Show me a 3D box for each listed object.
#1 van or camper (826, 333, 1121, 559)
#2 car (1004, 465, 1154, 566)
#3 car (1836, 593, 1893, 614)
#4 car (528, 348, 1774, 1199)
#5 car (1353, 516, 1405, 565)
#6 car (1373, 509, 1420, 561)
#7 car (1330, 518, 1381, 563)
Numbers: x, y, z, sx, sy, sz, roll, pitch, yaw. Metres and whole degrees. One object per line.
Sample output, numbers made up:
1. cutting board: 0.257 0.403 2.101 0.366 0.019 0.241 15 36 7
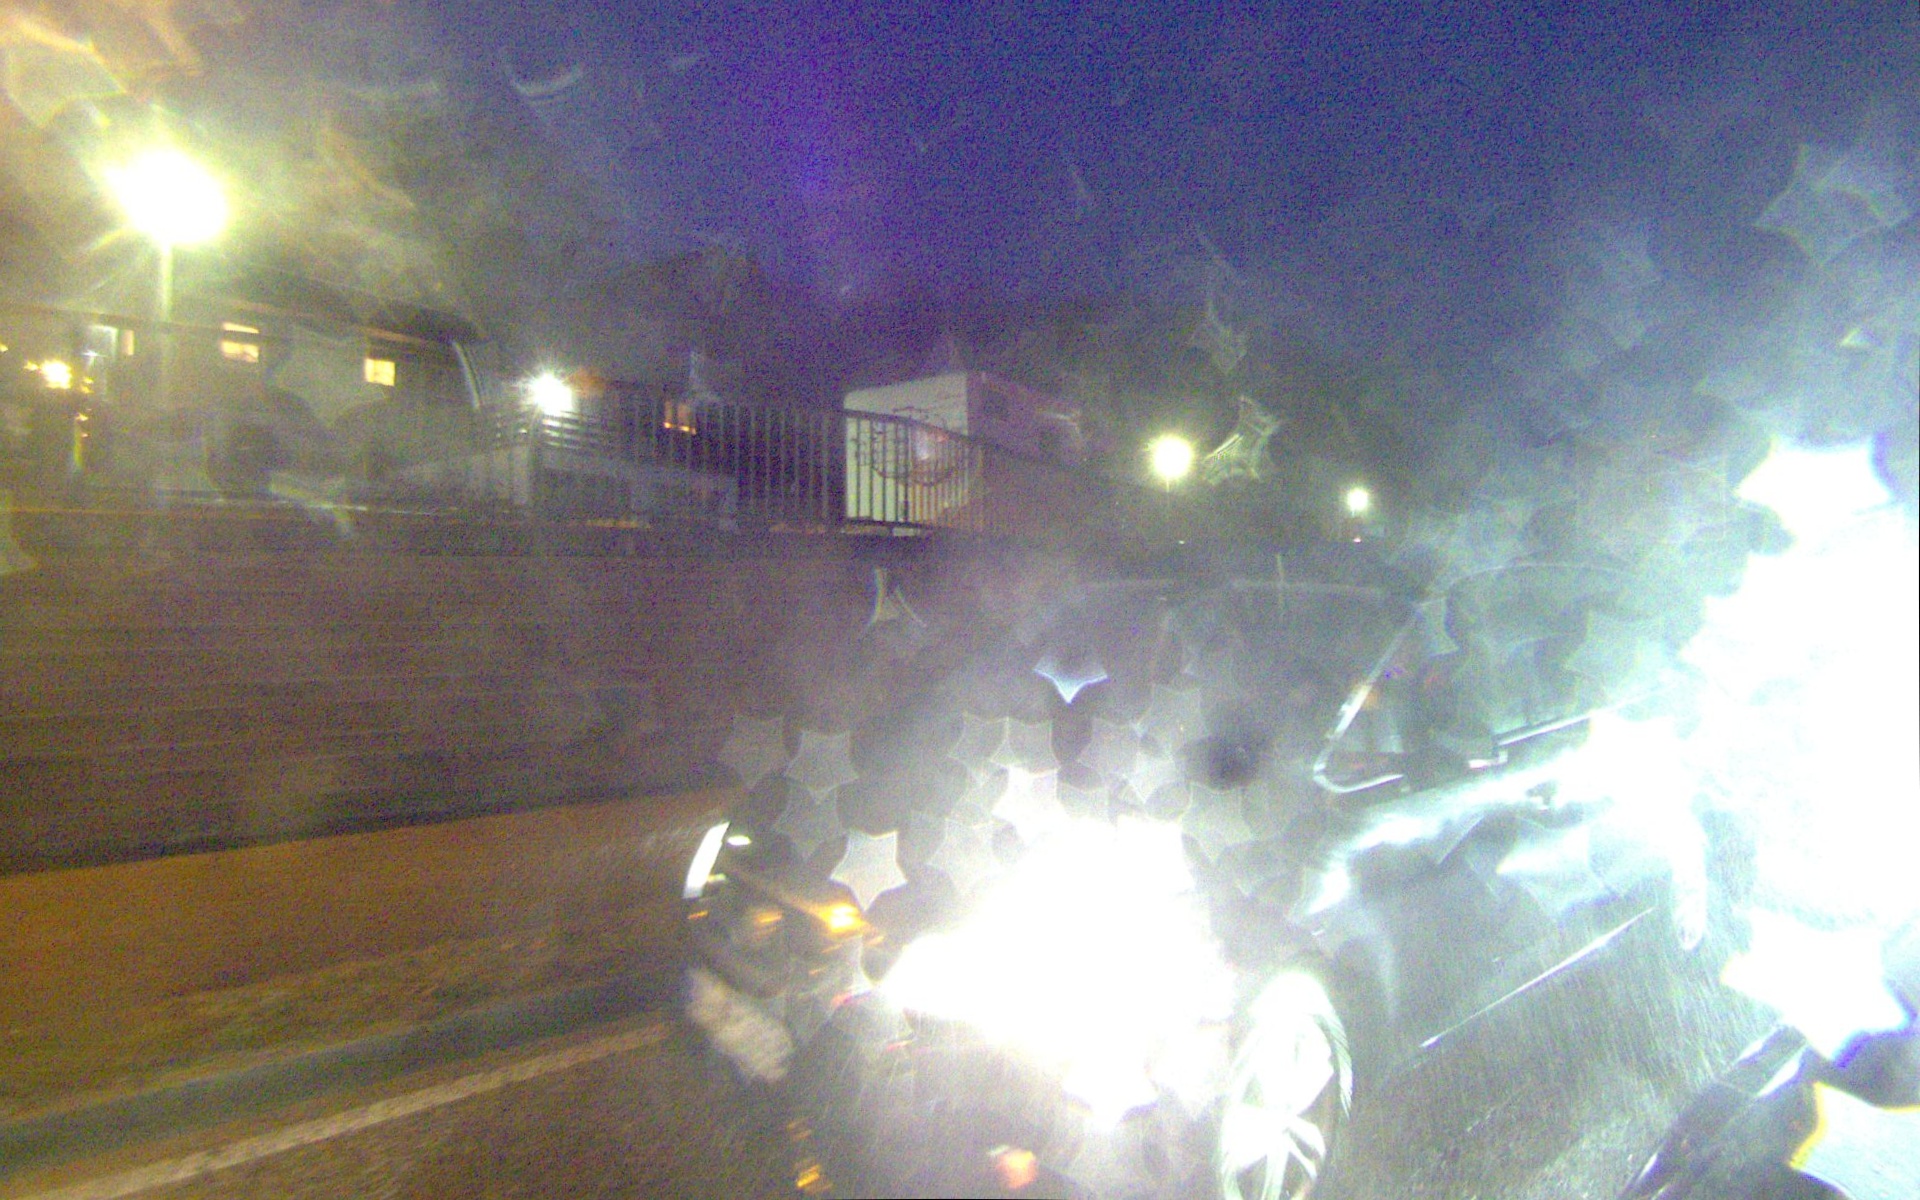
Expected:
1. van or camper: 0.496 -2.176 16.606 2.395 2.828 5.712 0 0 30
2. car: 2.855 -1.854 23.584 1.985 2.039 3.954 0 0 32
3. car: 92.789 0.344 103.901 1.959 2.039 4.006 0 0 -9
4. car: 1.234 0.500 3.684 4.855 1.757 1.838 -1 0 -41
5. car: 22.622 -3.158 54.550 1.922 2.451 4.206 0 0 32
6. car: 25.510 -3.726 59.060 1.922 2.809 4.206 0 0 32
7. car: 19.592 -2.889 50.068 1.721 2.039 3.658 0 0 32
